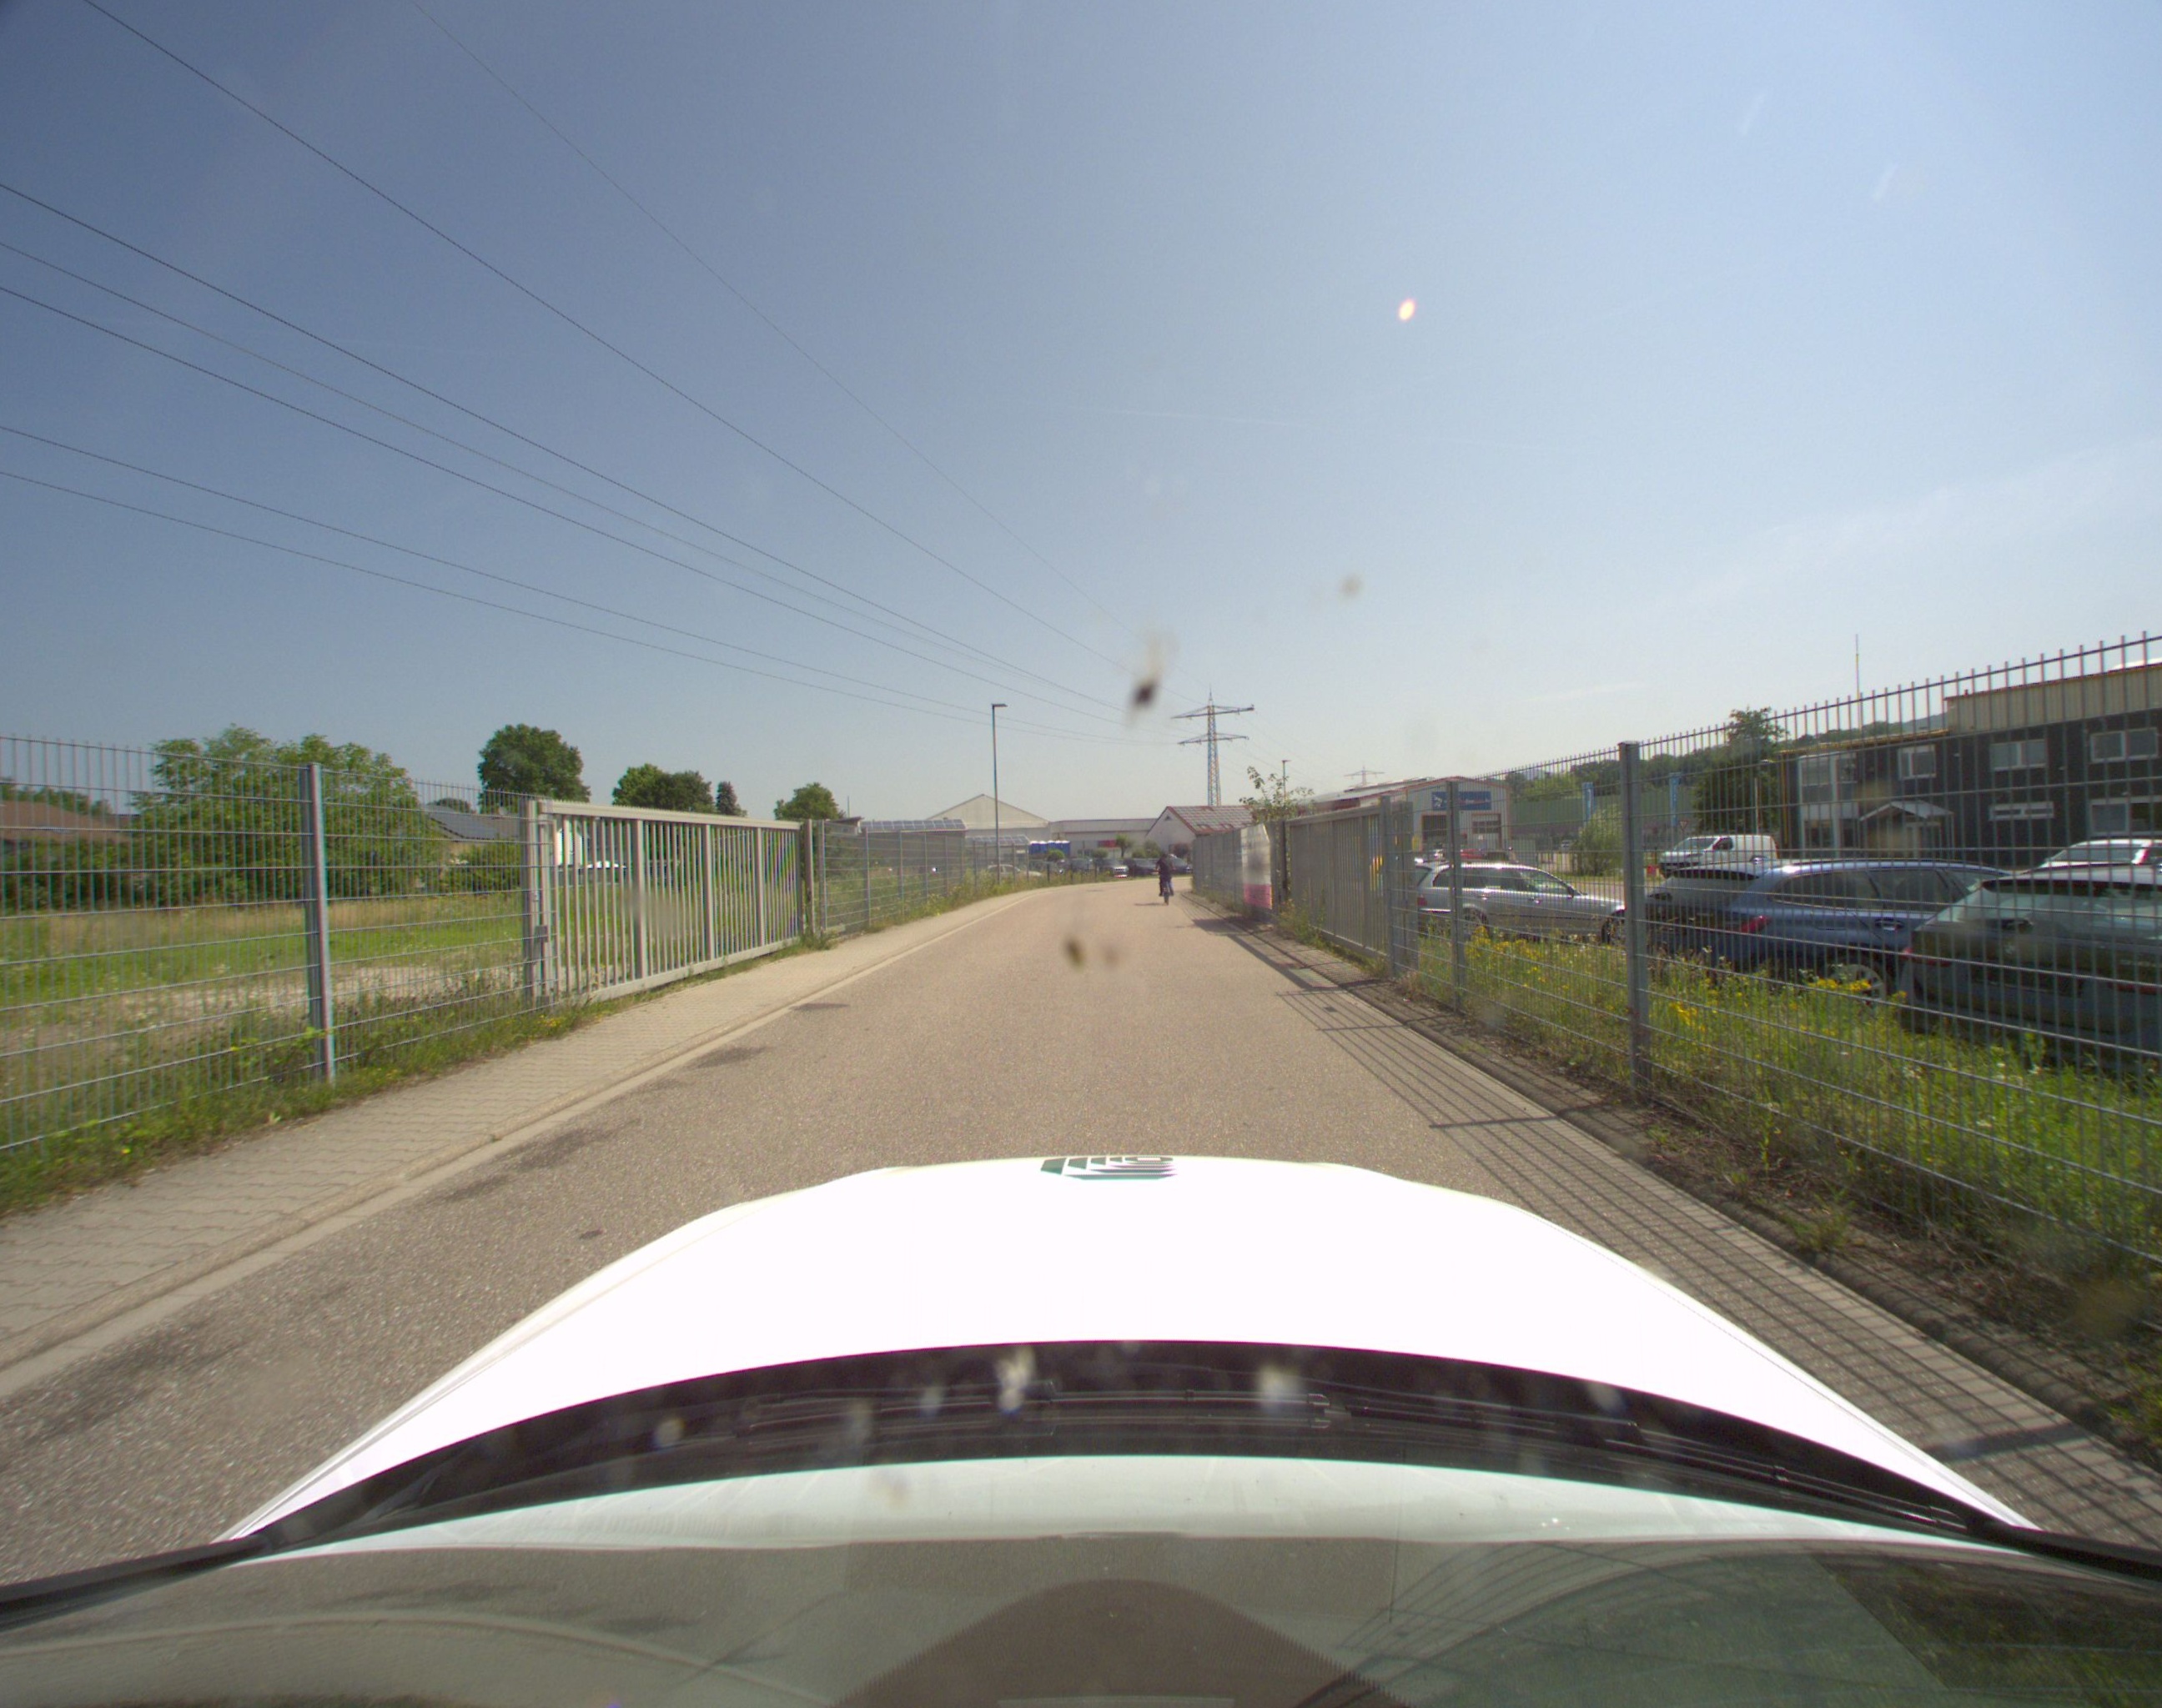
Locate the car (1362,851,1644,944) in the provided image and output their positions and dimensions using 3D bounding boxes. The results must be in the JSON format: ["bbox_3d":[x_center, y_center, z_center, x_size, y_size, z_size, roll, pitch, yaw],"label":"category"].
[{"bbox_3d":[7.306,0.729,14.343,4.152,1.474,1.637,1,0,-2],"label":"car"}]

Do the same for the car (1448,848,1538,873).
[{"bbox_3d":[22.300,0.366,44.172,1.916,1.277,3.884,-1,0,-38],"label":"car"}]

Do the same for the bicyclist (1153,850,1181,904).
[{"bbox_3d":[2.657,0.705,25.214,0.838,1.618,1.041,-1,1,5],"label":"bicyclist"}]

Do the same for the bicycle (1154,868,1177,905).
[{"bbox_3d":[2.629,0.992,25.292,0.681,1.051,1.904,-1,0,6],"label":"bicycle"}]

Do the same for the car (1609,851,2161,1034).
[{"bbox_3d":[7.665,0.721,7.442,4.489,1.406,1.769,1,0,3],"label":"car"}]

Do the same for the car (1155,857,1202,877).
[{"bbox_3d":[7.719,1.040,64.787,2.000,1.435,4.638,-1,-1,-17],"label":"car"}]

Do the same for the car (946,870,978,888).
[{"bbox_3d":[-9.316,1.927,63.701,1.868,1.298,3.419,-1,-1,-19],"label":"car"}]

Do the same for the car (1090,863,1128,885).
[{"bbox_3d":[2.135,1.529,62.746,1.867,1.644,3.613,-1,-1,-17],"label":"car"}]

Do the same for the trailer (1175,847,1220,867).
[{"bbox_3d":[12.319,0.356,86.005,4.436,1.945,1.713,-2,0,-3],"label":"trailer"}]

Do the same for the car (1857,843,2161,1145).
[{"bbox_3d":[7.313,0.696,4.490,4.493,1.406,1.638,1,0,1],"label":"car"}]

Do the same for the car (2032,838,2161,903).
[{"bbox_3d":[25.203,0.355,19.676,3.663,1.436,1.527,-2,0,-17],"label":"car"}]

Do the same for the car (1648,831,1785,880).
[{"bbox_3d":[27.281,0.053,35.016,5.065,1.899,1.849,-2,0,-13],"label":"car"}]

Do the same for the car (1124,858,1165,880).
[{"bbox_3d":[4.888,1.152,63.089,1.867,1.554,3.748,-1,-1,-17],"label":"car"}]

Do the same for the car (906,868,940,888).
[{"bbox_3d":[-12.489,1.876,64.212,1.871,1.414,3.413,-1,-1,-24],"label":"car"}]
